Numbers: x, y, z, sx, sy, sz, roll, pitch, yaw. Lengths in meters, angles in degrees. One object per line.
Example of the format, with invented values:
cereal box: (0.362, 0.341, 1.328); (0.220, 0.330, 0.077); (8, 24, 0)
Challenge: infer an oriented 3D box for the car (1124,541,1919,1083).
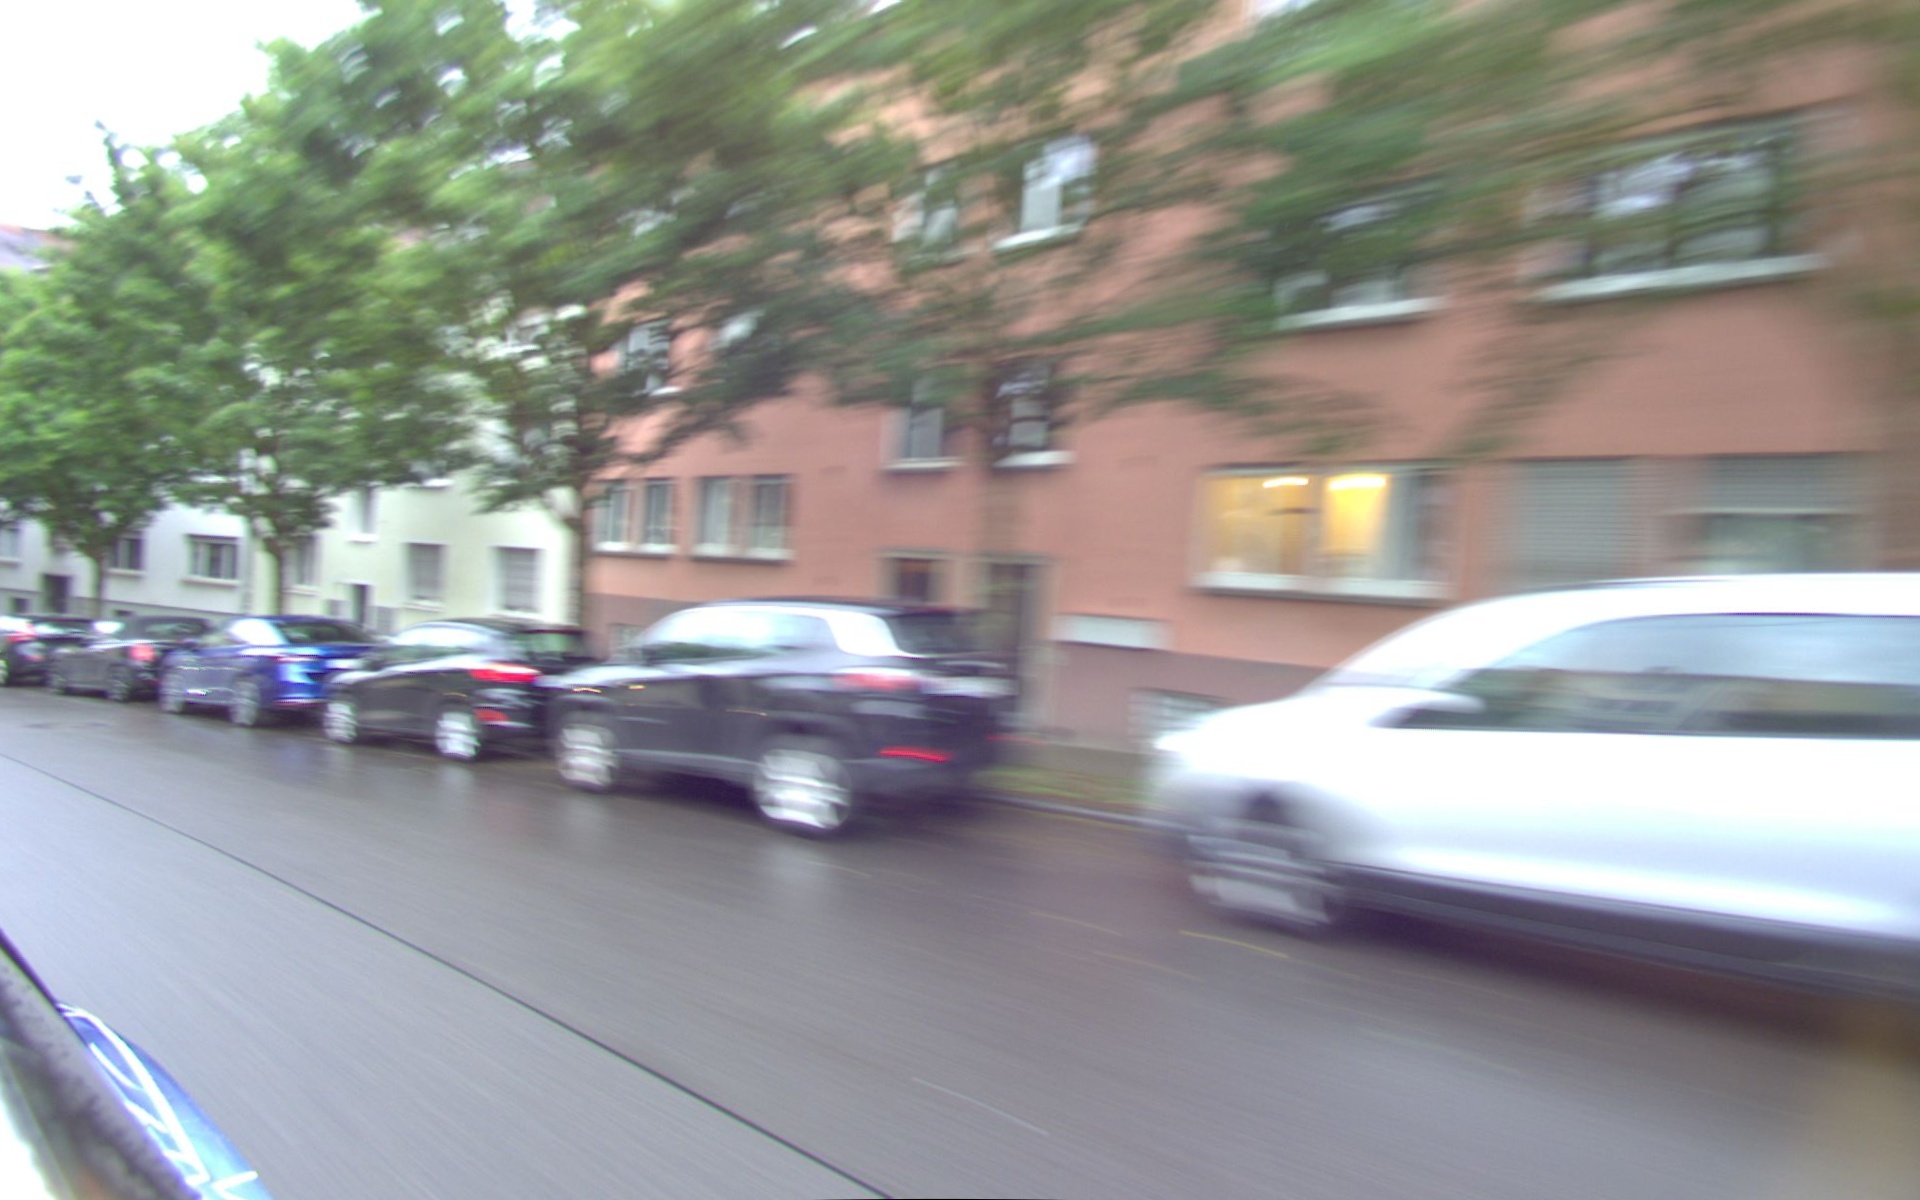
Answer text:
car: (3.104, 0.689, 4.325); (4.601, 1.703, 1.727); (-1, -2, 44)

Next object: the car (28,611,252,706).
car: (-14.598, 0.958, 17.971); (4.347, 1.504, 1.773); (0, -1, 32)

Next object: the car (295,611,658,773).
car: (-5.537, 0.886, 11.394); (4.351, 1.504, 1.772); (0, -2, 35)

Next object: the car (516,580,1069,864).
car: (-1.509, 0.746, 8.010); (4.474, 1.653, 1.770); (-1, -2, 38)

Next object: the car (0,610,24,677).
car: (-23.907, 0.963, 23.476); (4.476, 1.504, 1.776); (0, -2, 27)

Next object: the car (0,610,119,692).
car: (-19.385, 0.972, 20.886); (4.629, 1.504, 1.773); (0, 0, 32)

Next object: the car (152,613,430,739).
car: (-9.599, 0.955, 14.359); (4.853, 1.504, 1.770); (-1, -2, 37)
